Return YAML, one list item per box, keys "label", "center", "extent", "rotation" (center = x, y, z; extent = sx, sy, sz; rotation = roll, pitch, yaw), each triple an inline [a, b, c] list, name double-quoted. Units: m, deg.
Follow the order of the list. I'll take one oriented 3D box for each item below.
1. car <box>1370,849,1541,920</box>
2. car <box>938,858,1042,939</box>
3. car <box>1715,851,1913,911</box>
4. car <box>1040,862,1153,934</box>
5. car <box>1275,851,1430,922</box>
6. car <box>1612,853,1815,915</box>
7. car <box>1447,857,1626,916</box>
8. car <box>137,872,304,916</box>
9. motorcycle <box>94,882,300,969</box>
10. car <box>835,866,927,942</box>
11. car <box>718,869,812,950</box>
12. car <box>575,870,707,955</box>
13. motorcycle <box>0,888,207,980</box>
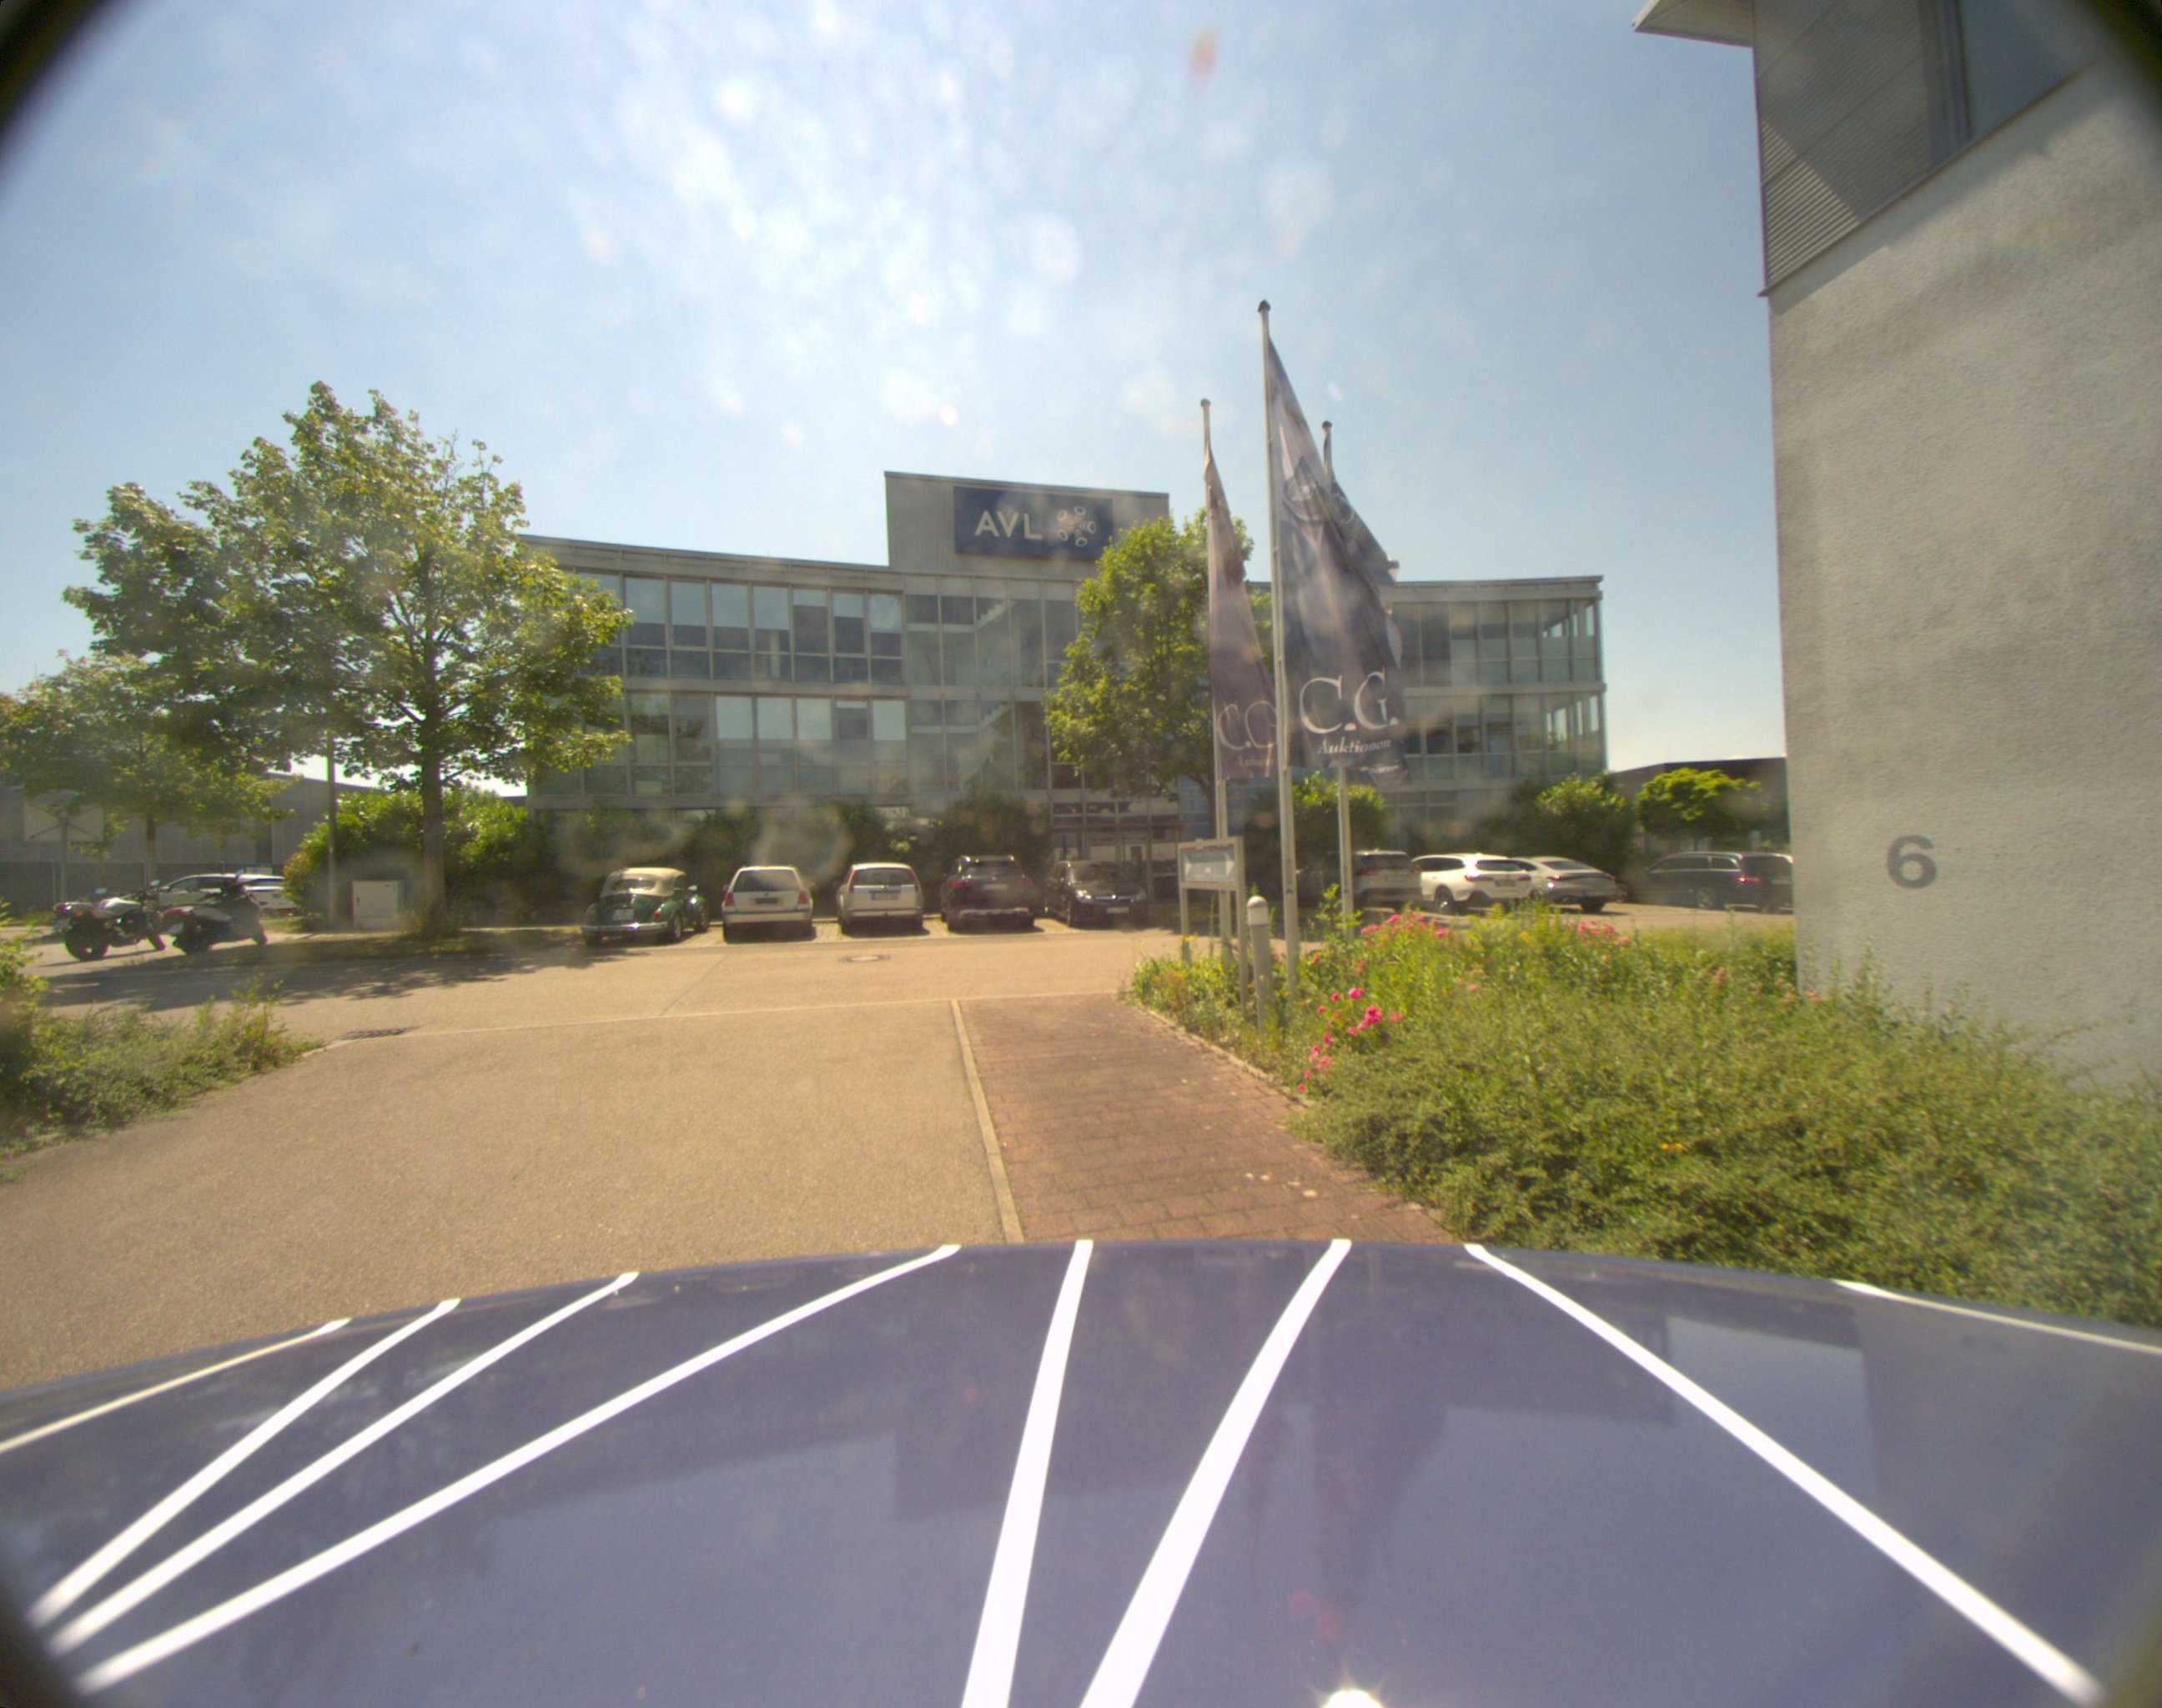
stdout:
- label: "car"
  center: [9.573, 0.710, 19.850]
  extent: [1.834, 1.628, 4.167]
  rotation: [-1, 0, -11]
- label: "car"
  center: [-2.227, 0.922, 17.668]
  extent: [1.941, 1.593, 3.854]
  rotation: [-1, 0, -14]
- label: "car"
  center: [19.560, 0.653, 20.580]
  extent: [1.750, 1.416, 4.173]
  rotation: [-1, 1, 8]
- label: "car"
  center: [0.238, 0.956, 18.430]
  extent: [1.732, 1.475, 4.392]
  rotation: [-2, 0, -12]
- label: "car"
  center: [6.894, 0.757, 19.793]
  extent: [1.834, 1.628, 4.167]
  rotation: [-1, 0, -13]
- label: "car"
  center: [16.650, 0.714, 20.327]
  extent: [1.752, 1.416, 4.169]
  rotation: [-1, 1, -5]
- label: "car"
  center: [11.943, 0.782, 20.278]
  extent: [1.753, 1.392, 4.167]
  rotation: [-1, 0, -11]
- label: "car"
  center: [-32.284, 1.495, 28.570]
  extent: [4.410, 1.467, 1.781]
  rotation: [-1, 0, 3]
- label: "motorcycle"
  center: [-15.470, 1.184, 13.470]
  extent: [0.874, 1.252, 2.832]
  rotation: [-1, 1, -14]
- label: "car"
  center: [-4.640, 1.035, 17.323]
  extent: [1.734, 1.443, 3.594]
  rotation: [-1, 0, -19]
- label: "car"
  center: [-6.632, 1.077, 16.222]
  extent: [1.645, 1.443, 3.594]
  rotation: [0, 0, -19]
- label: "car"
  center: [-8.824, 1.089, 15.528]
  extent: [1.524, 1.437, 3.414]
  rotation: [0, 0, -16]
- label: "motorcycle"
  center: [-16.718, 1.285, 12.966]
  extent: [0.874, 1.252, 2.832]
  rotation: [-1, 1, -14]
